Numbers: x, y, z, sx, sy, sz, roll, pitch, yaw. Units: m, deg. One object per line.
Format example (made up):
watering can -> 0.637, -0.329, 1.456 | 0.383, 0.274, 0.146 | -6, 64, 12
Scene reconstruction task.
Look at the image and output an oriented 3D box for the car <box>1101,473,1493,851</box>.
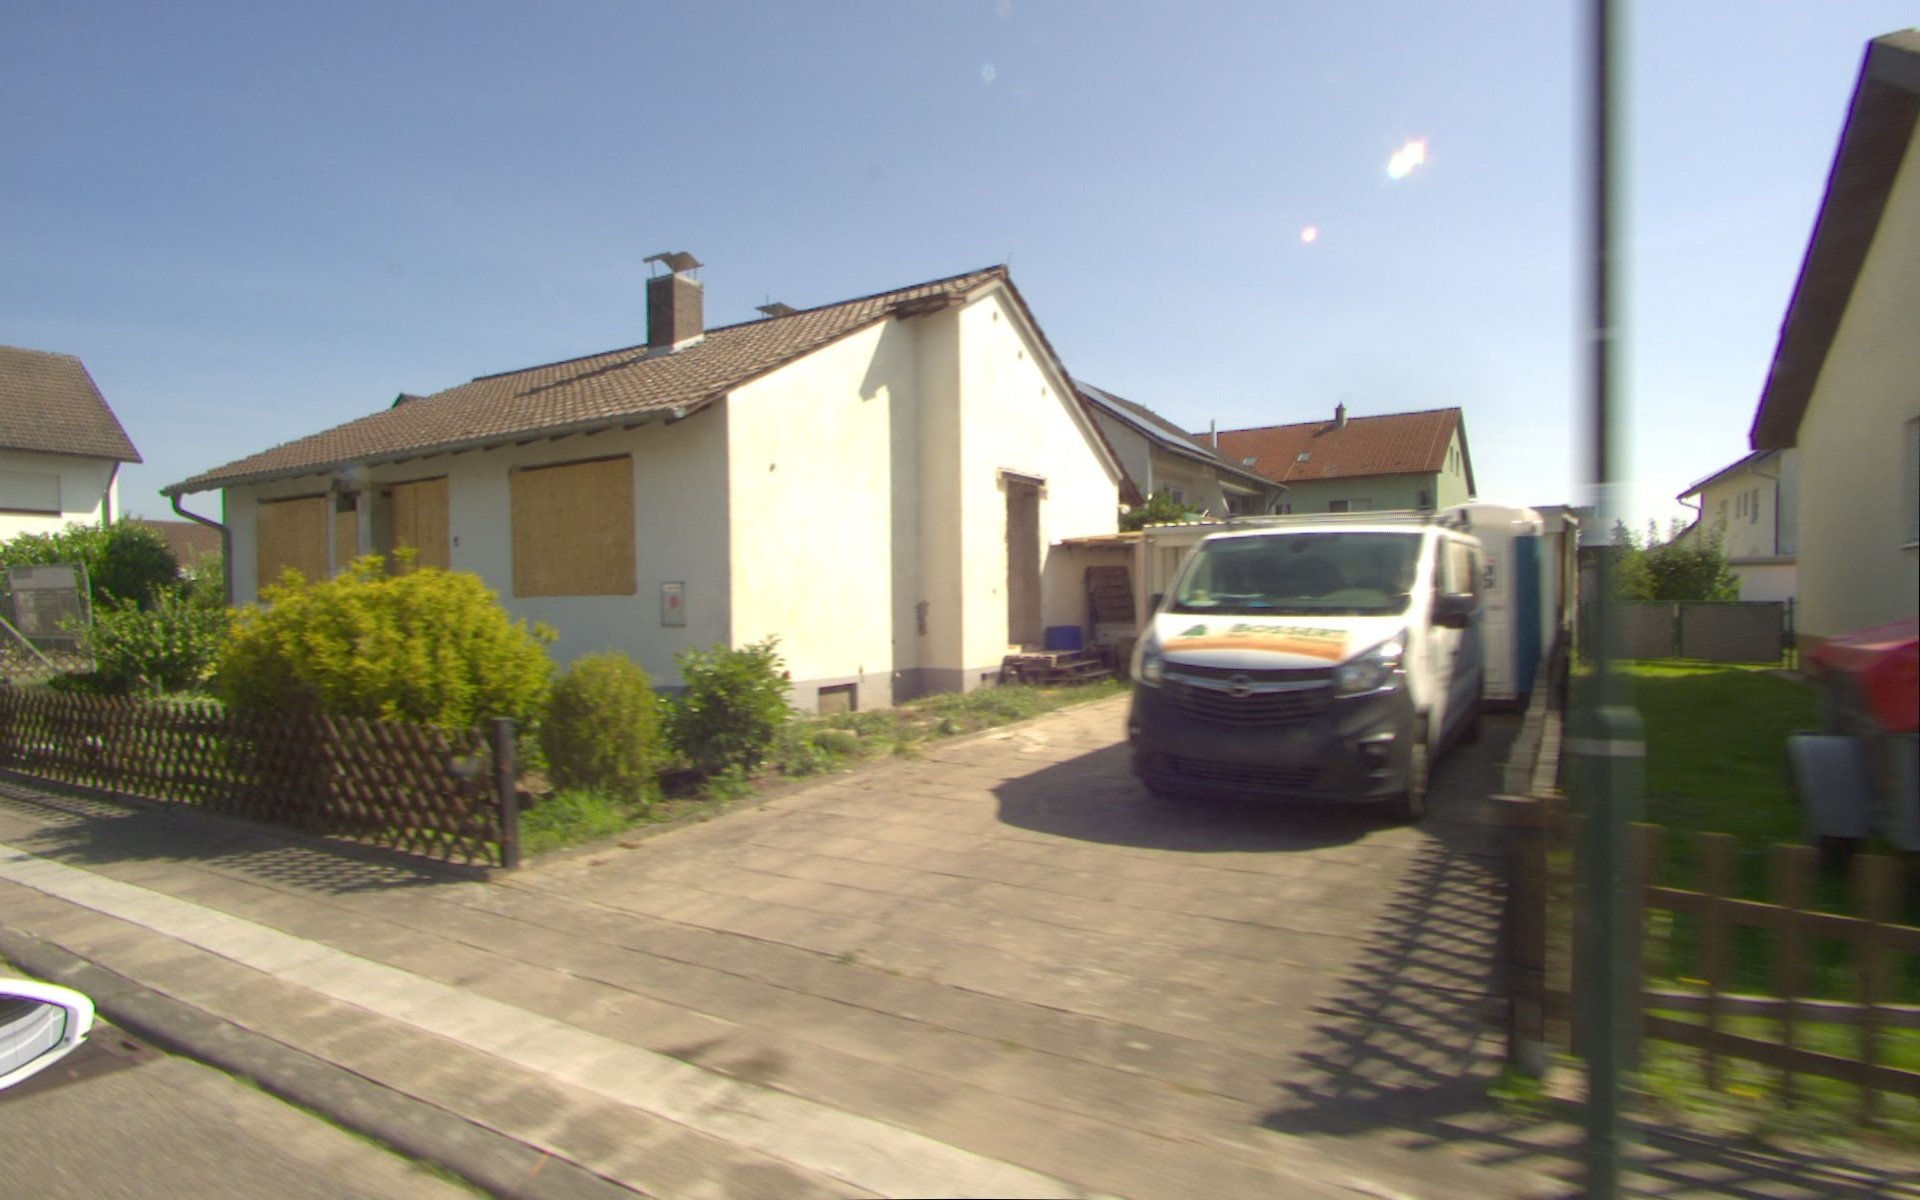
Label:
car -> 3.015, 0.335, 8.010 | 1.841, 2.040, 4.985 | 0, 0, 32
